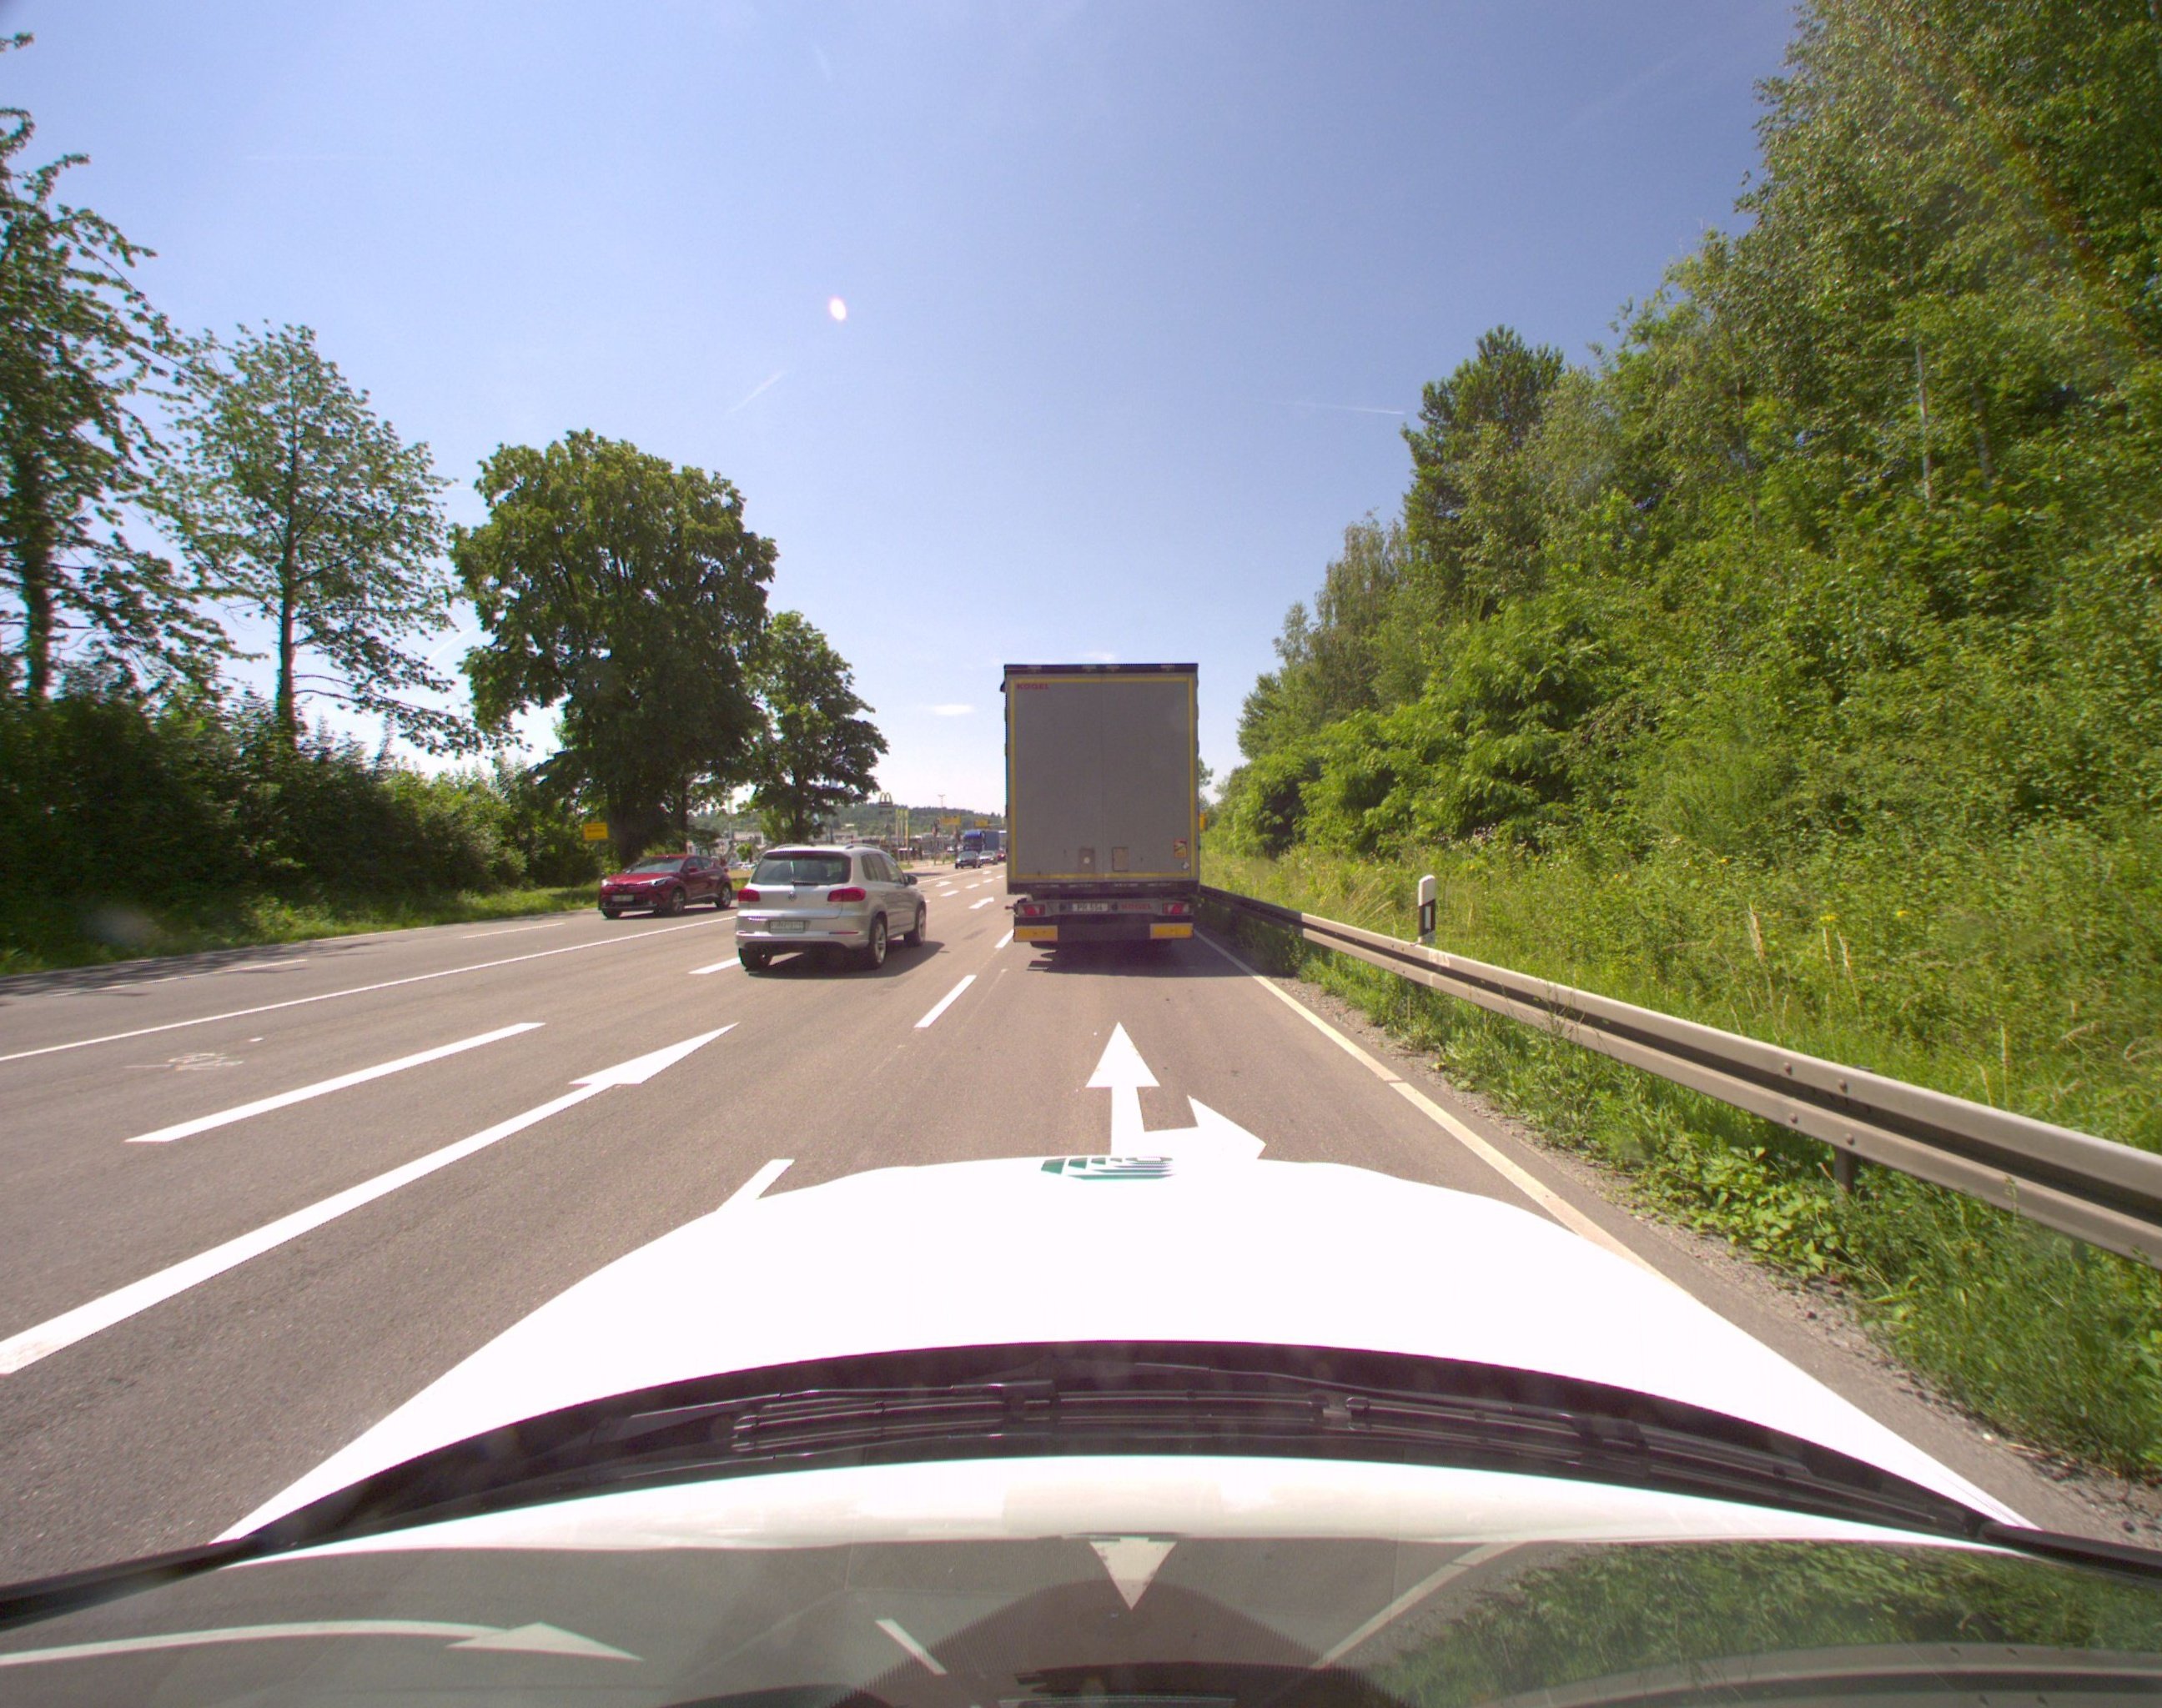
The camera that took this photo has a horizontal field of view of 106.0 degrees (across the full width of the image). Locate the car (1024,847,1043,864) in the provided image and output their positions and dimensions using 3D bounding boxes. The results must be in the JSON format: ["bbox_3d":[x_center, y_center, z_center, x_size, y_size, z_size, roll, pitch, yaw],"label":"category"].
[{"bbox_3d":[-5.848,0.180,100.362,1.986,2.013,4.002,-1,0,2],"label":"car"}]

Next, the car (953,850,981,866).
[{"bbox_3d":[-9.723,0.362,69.735,1.761,1.386,3.999,0,-1,0],"label":"car"}]

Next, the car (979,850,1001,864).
[{"bbox_3d":[-9.234,0.331,82.710,1.761,1.386,3.999,0,-1,0],"label":"car"}]

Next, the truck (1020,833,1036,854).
[{"bbox_3d":[-11.872,-2.312,180.430,3.141,4.349,17.510,-1,0,-5],"label":"truck"}]

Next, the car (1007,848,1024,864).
[{"bbox_3d":[-8.527,0.221,106.899,1.766,2.013,4.002,-1,0,2],"label":"car"}]

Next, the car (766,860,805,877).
[{"bbox_3d":[-30.190,1.450,83.197,3.948,1.618,1.852,-1,0,38],"label":"car"}]

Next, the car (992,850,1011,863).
[{"bbox_3d":[-9.346,0.325,96.200,1.635,1.438,4.020,-1,1,3],"label":"car"}]

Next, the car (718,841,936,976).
[{"bbox_3d":[-3.527,0.662,12.223,1.798,1.670,4.293,0,0,2],"label":"car"}]

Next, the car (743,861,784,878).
[{"bbox_3d":[-31.735,1.562,81.409,3.948,1.651,2.013,-1,0,38],"label":"car"}]

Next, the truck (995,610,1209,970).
[{"bbox_3d":[0.540,-0.752,18.833,2.745,4.639,16.661,0,-1,2],"label":"truck"}]

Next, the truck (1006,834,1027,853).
[{"bbox_3d":[-11.678,-1.909,149.050,2.837,3.351,11.480,-1,0,0],"label":"truck"}]

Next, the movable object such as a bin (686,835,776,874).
[{"bbox_3d":[-31.555,-0.009,73.670,3.013,3.298,6.834,-1,1,41],"label":"movable object such as a bin"}]

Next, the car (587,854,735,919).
[{"bbox_3d":[-10.771,0.773,21.217,1.897,1.508,3.764,-1,0,0],"label":"car"}]

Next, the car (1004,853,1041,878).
[{"bbox_3d":[-3.370,0.652,47.743,1.679,1.398,4.404,-1,0,2],"label":"car"}]

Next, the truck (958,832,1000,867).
[{"bbox_3d":[-12.999,-0.553,105.586,2.958,4.176,16.576,-1,0,1],"label":"truck"}]
